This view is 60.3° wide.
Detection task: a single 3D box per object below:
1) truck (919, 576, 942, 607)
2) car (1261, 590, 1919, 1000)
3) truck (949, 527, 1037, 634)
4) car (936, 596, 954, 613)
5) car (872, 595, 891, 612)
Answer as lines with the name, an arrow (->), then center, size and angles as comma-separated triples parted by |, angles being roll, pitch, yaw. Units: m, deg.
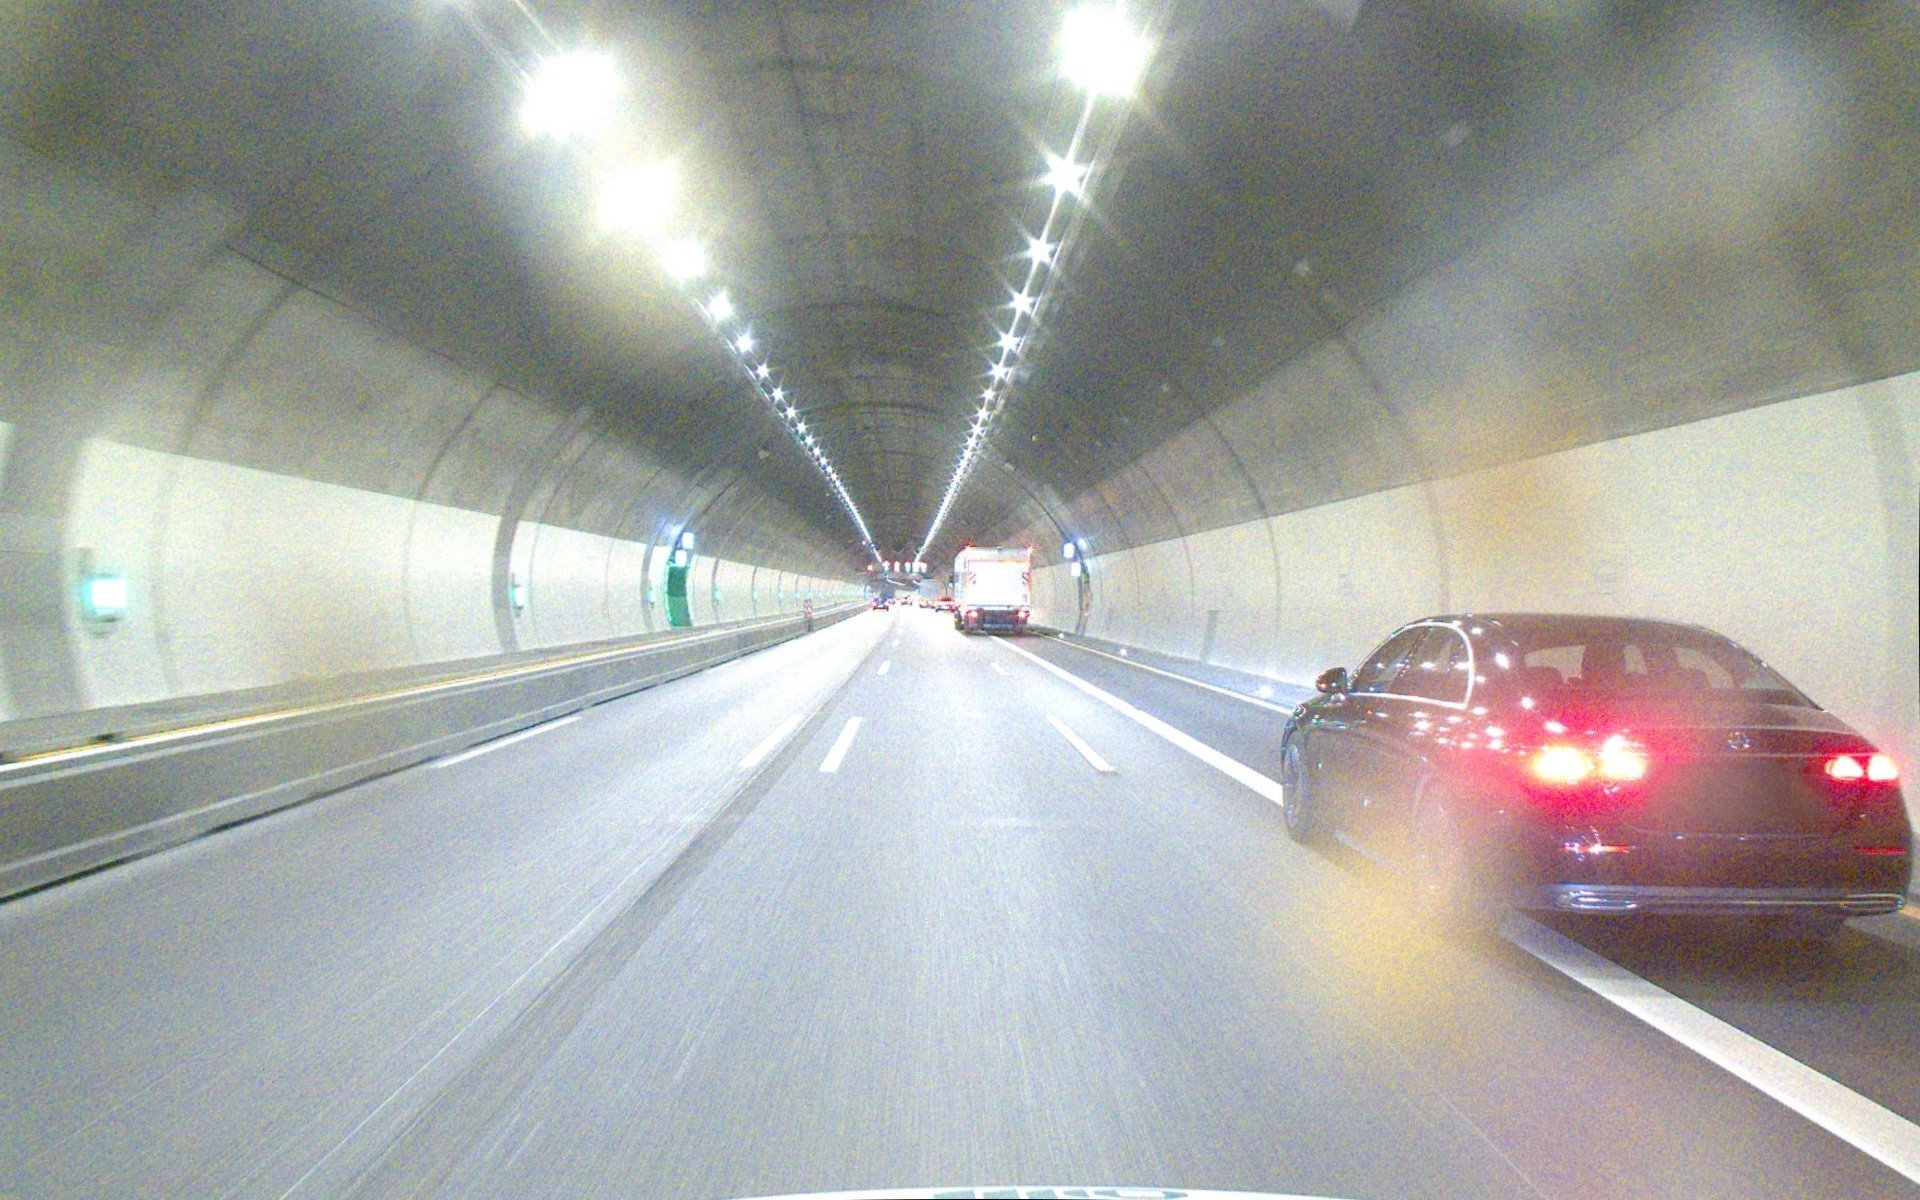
truck -> -4.241, -1.135, 237.457 | 3.004, 3.986, 10.365 | 3, -1, 0
car -> 3.045, 0.778, 8.816 | 1.886, 1.498, 4.953 | 3, -1, 0
truck -> 1.244, -0.652, 69.304 | 3.030, 3.986, 10.363 | 3, -1, -2
car -> -1.414, 0.437, 157.219 | 1.704, 1.486, 3.960 | 3, 0, -1
car -> -7.515, 0.334, 158.342 | 1.723, 1.486, 4.117 | 3, 0, -2
